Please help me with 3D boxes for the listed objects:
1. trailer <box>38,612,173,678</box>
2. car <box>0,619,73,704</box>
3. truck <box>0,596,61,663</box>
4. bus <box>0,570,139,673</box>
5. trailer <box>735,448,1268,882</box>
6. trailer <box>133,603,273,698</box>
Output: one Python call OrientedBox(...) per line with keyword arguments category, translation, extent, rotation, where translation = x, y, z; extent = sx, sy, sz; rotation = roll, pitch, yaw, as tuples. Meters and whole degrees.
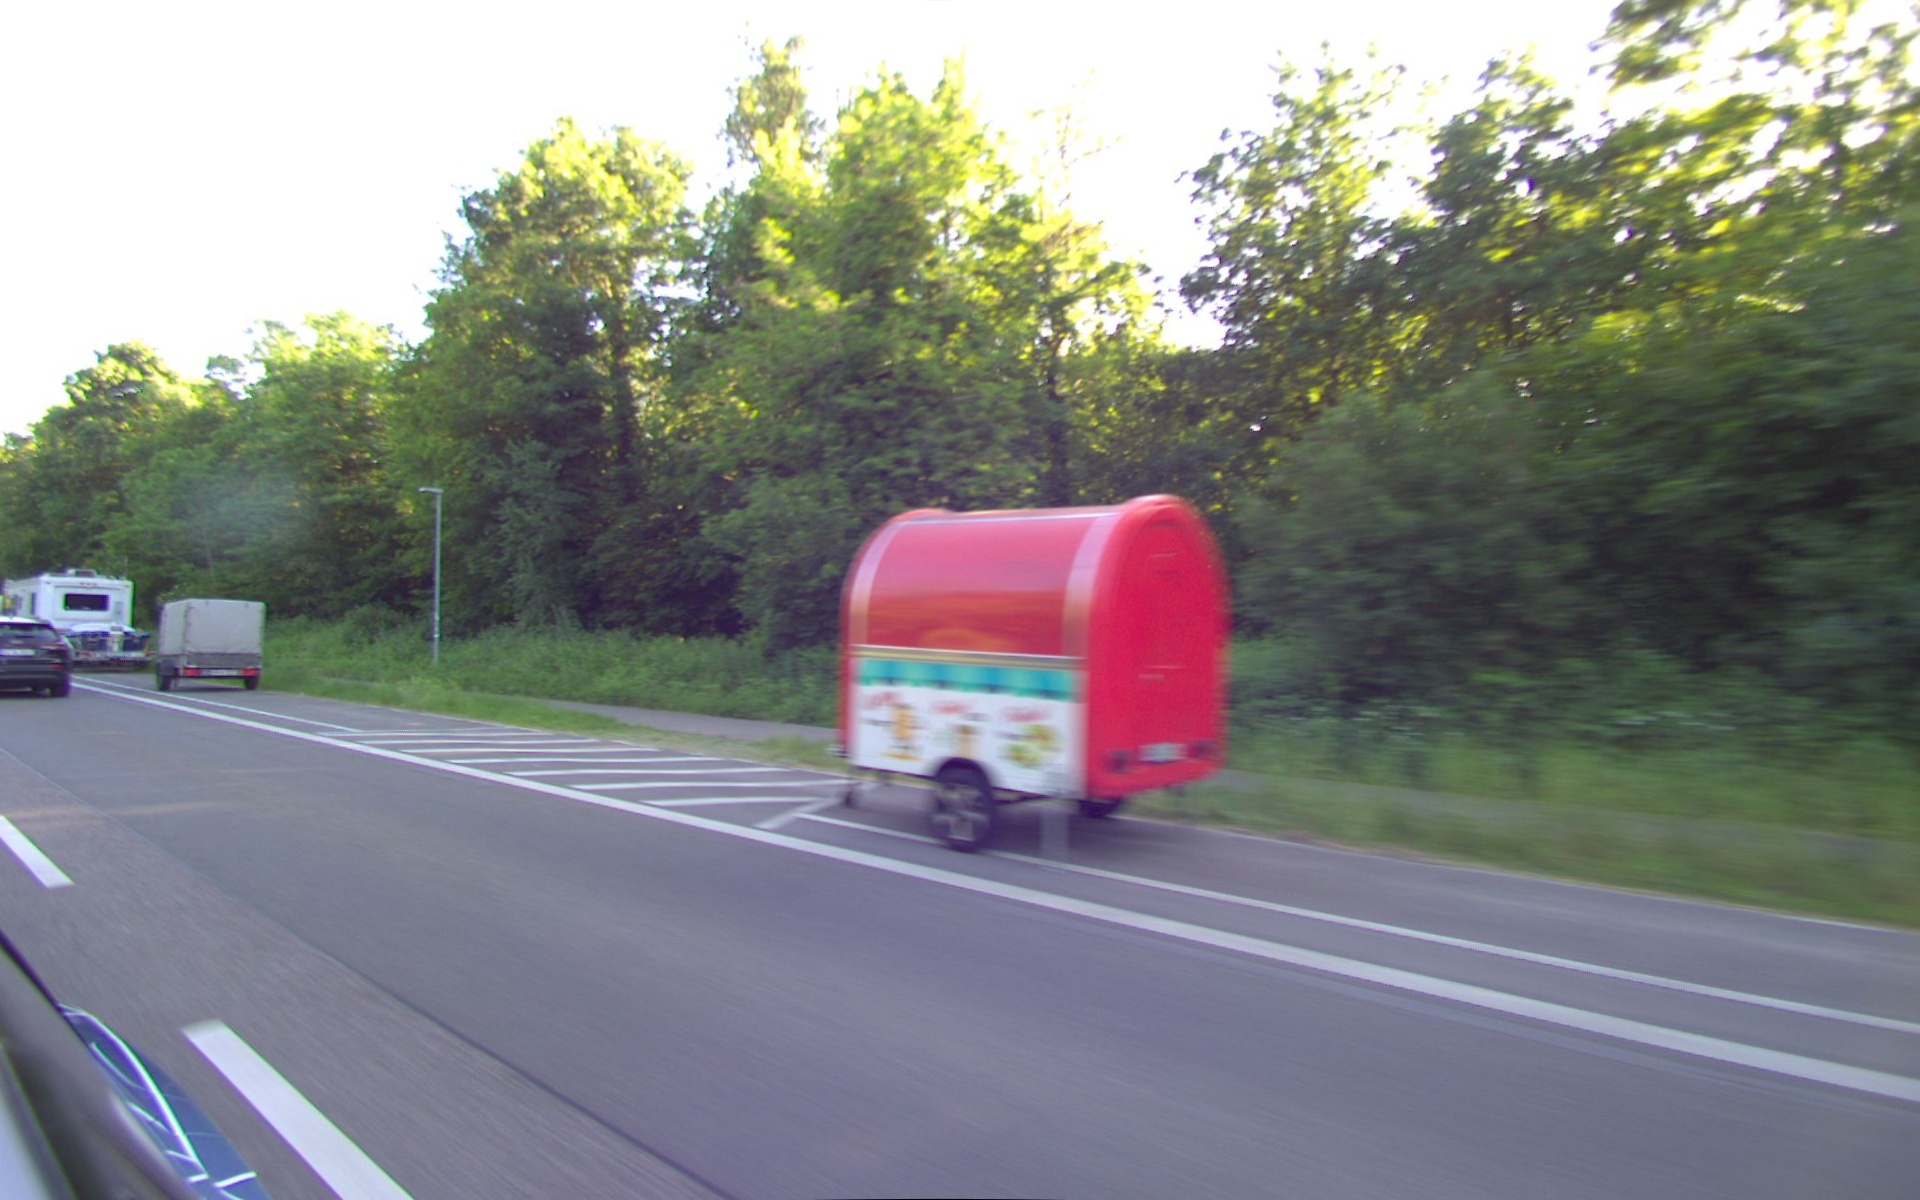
OrientedBox(category="trailer", translation=(-27.871, 1.402, 32.917), extent=(6.260, 1.929, 2.403), rotation=(-2, -1, 41))
OrientedBox(category="car", translation=(-19.588, 1.182, 20.512), extent=(4.457, 1.599, 1.799), rotation=(-1, -2, 41))
OrientedBox(category="truck", translation=(-43.141, 1.322, 45.875), extent=(8.418, 2.845, 2.457), rotation=(-2, -1, 41))
OrientedBox(category="bus", translation=(-34.458, 0.766, 38.721), extent=(11.193, 3.456, 2.799), rotation=(-1, 0, 41))
OrientedBox(category="trailer", translation=(0.243, 0.419, 7.736), extent=(3.555, 2.499, 2.047), rotation=(-1, -2, 37))
OrientedBox(category="trailer", translation=(-17.736, 1.169, 23.670), extent=(3.559, 2.029, 1.833), rotation=(-1, -4, 41))
